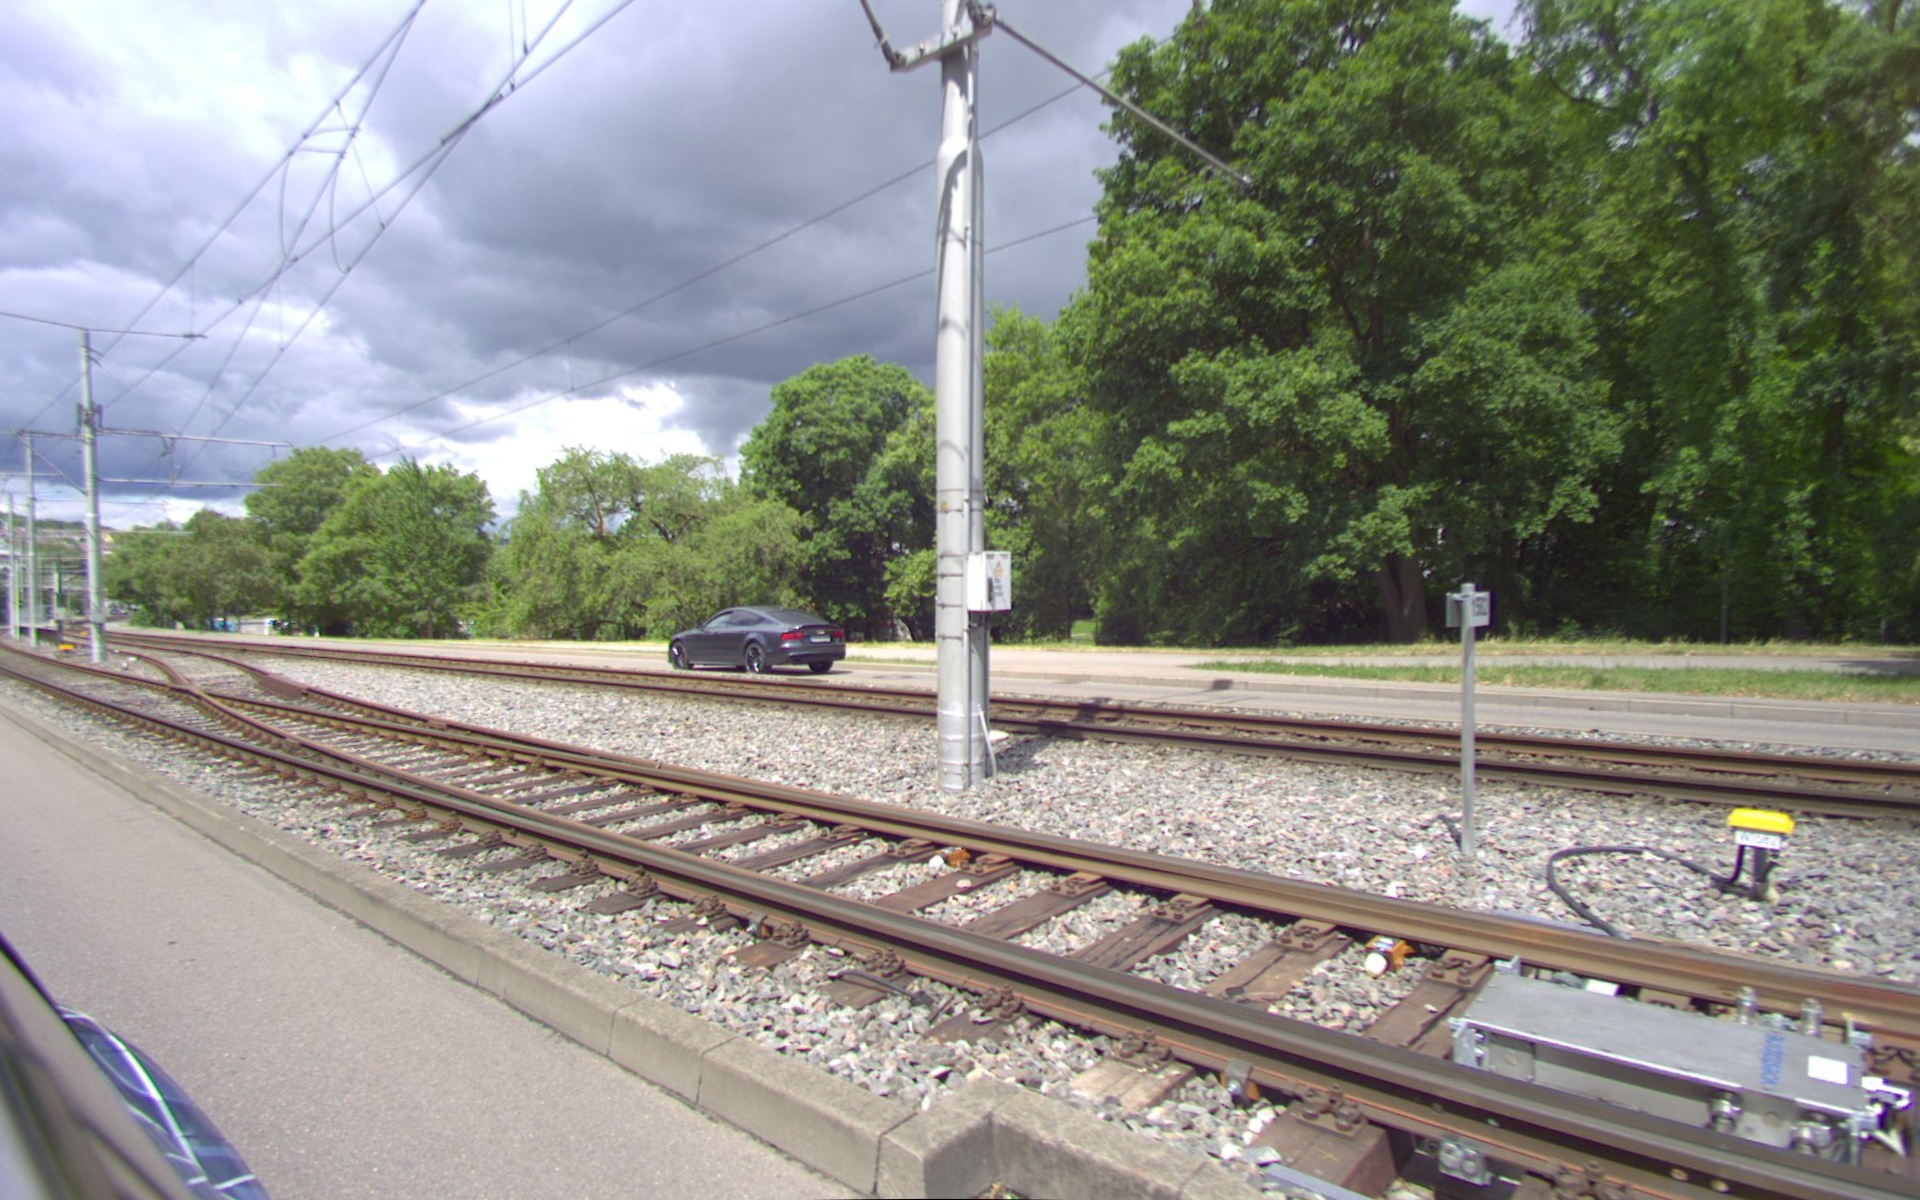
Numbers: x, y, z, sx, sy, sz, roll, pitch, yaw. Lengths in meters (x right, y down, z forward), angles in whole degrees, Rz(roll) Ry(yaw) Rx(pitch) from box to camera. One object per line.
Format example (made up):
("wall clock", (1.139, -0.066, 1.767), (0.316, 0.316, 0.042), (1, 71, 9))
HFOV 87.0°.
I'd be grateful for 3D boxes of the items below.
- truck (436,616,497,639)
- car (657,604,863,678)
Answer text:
("truck", (-63.500, 3.554, 130.331), (6.521, 2.877, 2.683), (2, -3, -41))
("car", (-4.376, 0.843, 21.638), (4.861, 1.402, 1.816), (-1, -2, 43))
